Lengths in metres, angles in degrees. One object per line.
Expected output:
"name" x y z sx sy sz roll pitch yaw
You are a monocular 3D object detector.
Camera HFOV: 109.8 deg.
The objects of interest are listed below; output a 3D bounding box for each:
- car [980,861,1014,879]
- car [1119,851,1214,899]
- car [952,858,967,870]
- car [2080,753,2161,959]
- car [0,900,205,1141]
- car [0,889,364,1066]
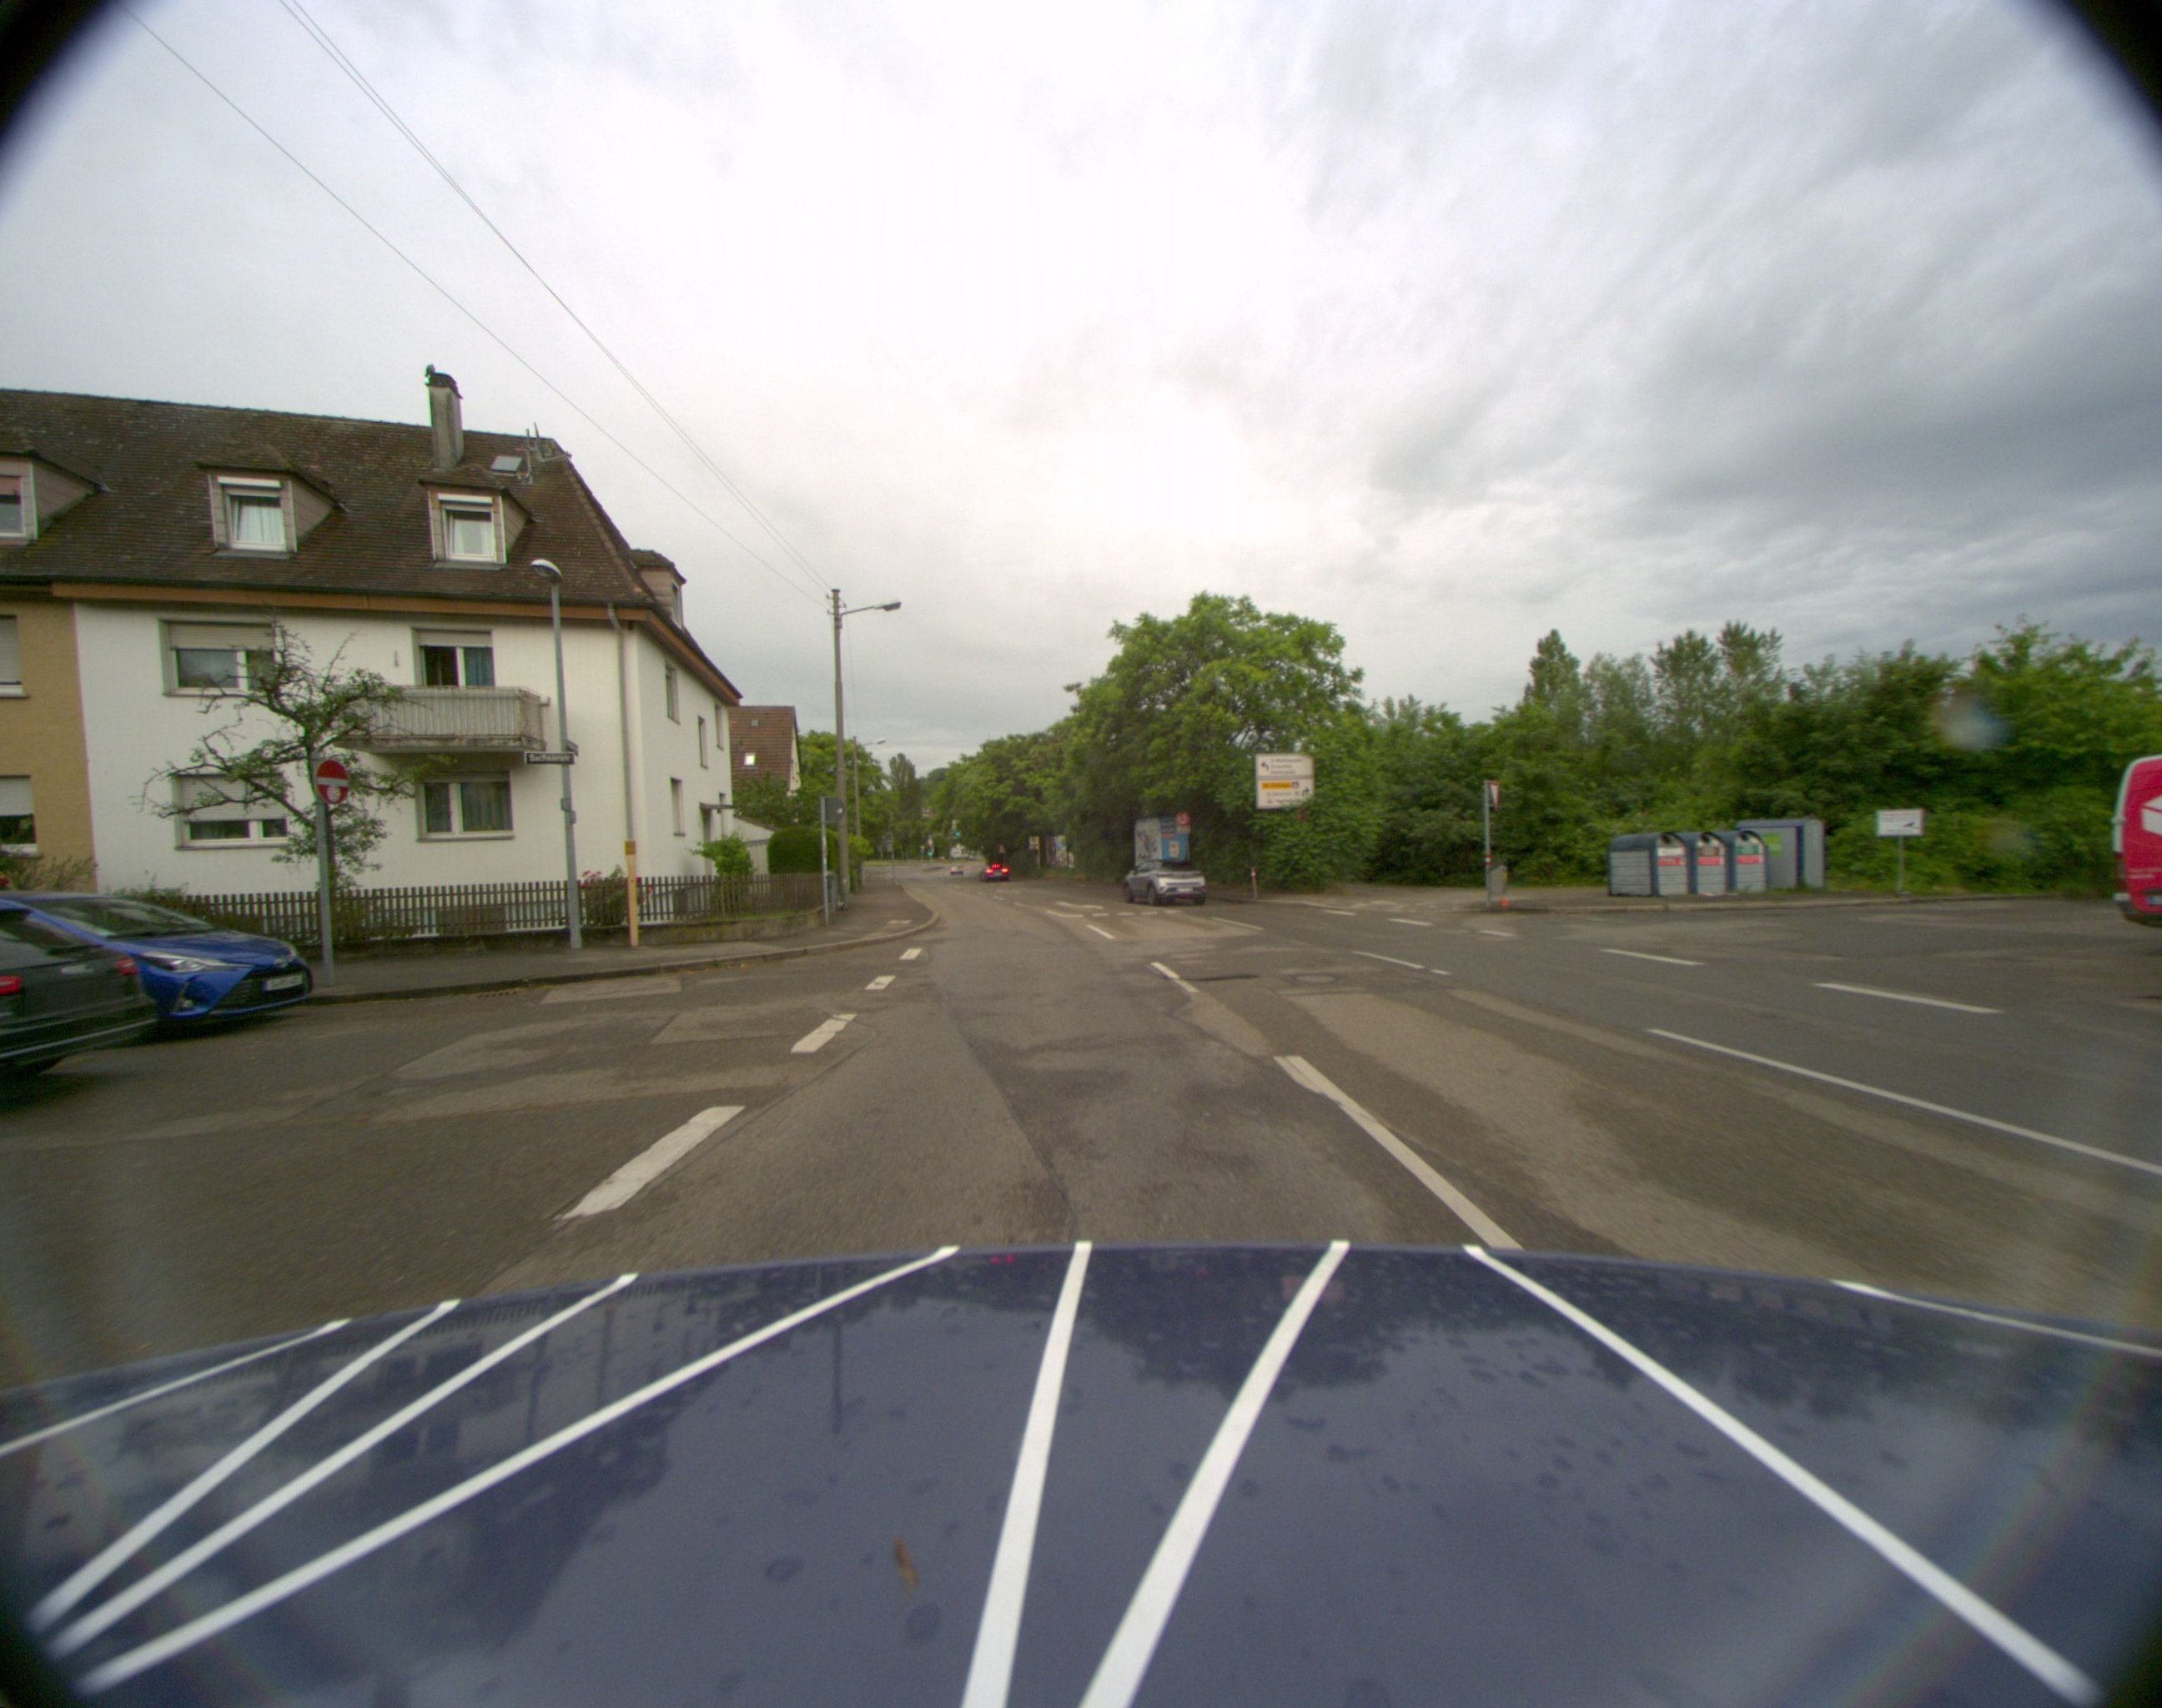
"car" -6.971 1.299 62.985 2.001 1.435 4.768 -1 0 -16
"car" 2.774 0.664 25.618 1.902 1.453 3.995 -2 0 -13
"car" -16.116 1.292 100.891 1.674 1.459 3.776 -2 0 -13
"car" 17.236 -0.104 10.166 6.827 2.640 2.260 -2 1 -15
"car" -9.464 1.160 4.793 4.822 1.471 1.883 -1 0 -20
"car" -10.314 1.181 7.609 4.128 1.471 1.884 -1 0 -13
